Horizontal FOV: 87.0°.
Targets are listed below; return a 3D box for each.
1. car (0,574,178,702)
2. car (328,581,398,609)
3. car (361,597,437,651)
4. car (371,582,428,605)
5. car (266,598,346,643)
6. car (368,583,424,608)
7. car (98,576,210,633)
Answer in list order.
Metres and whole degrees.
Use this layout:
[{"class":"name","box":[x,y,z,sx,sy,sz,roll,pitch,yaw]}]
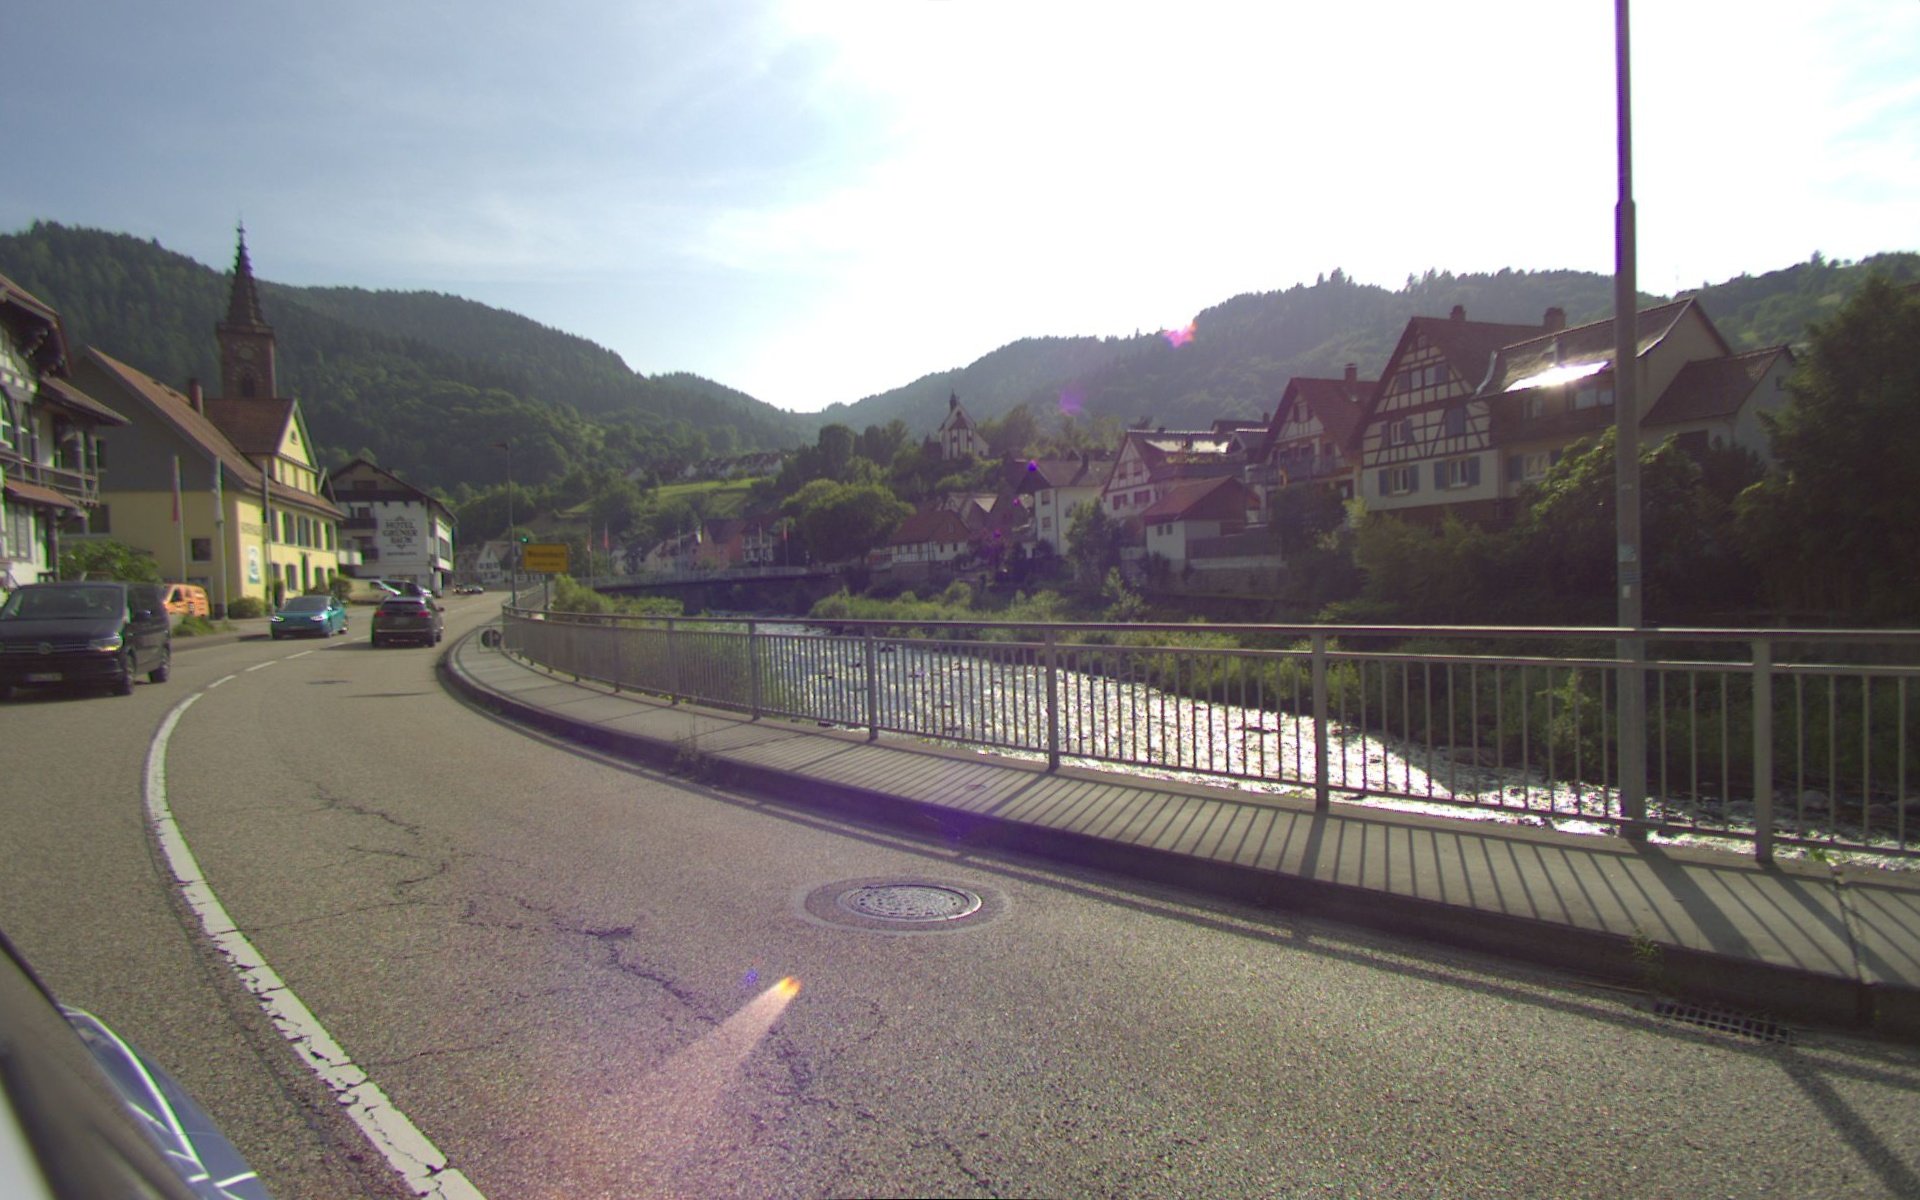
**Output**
[{"class":"car","box":[-15.518,0.580,17.933,1.856,1.979,4.881,0,0,-28]},{"class":"car","box":[-46.629,-0.389,79.154,4.381,1.973,1.719,3,0,-18]},{"class":"car","box":[-18.527,0.785,33.569,1.789,1.655,4.013,2,-1,-24]},{"class":"car","box":[-46.912,-0.552,84.751,3.931,1.896,1.690,0,0,-17]},{"class":"car","box":[-24.159,0.721,37.518,1.655,1.533,3.878,0,1,-20]},{"class":"car","box":[-45.843,-0.373,82.341,3.694,1.907,1.376,2,0,-18]},{"class":"car","box":[-31.063,0.194,39.196,1.882,2.012,4.850,2,-1,-20]}]
